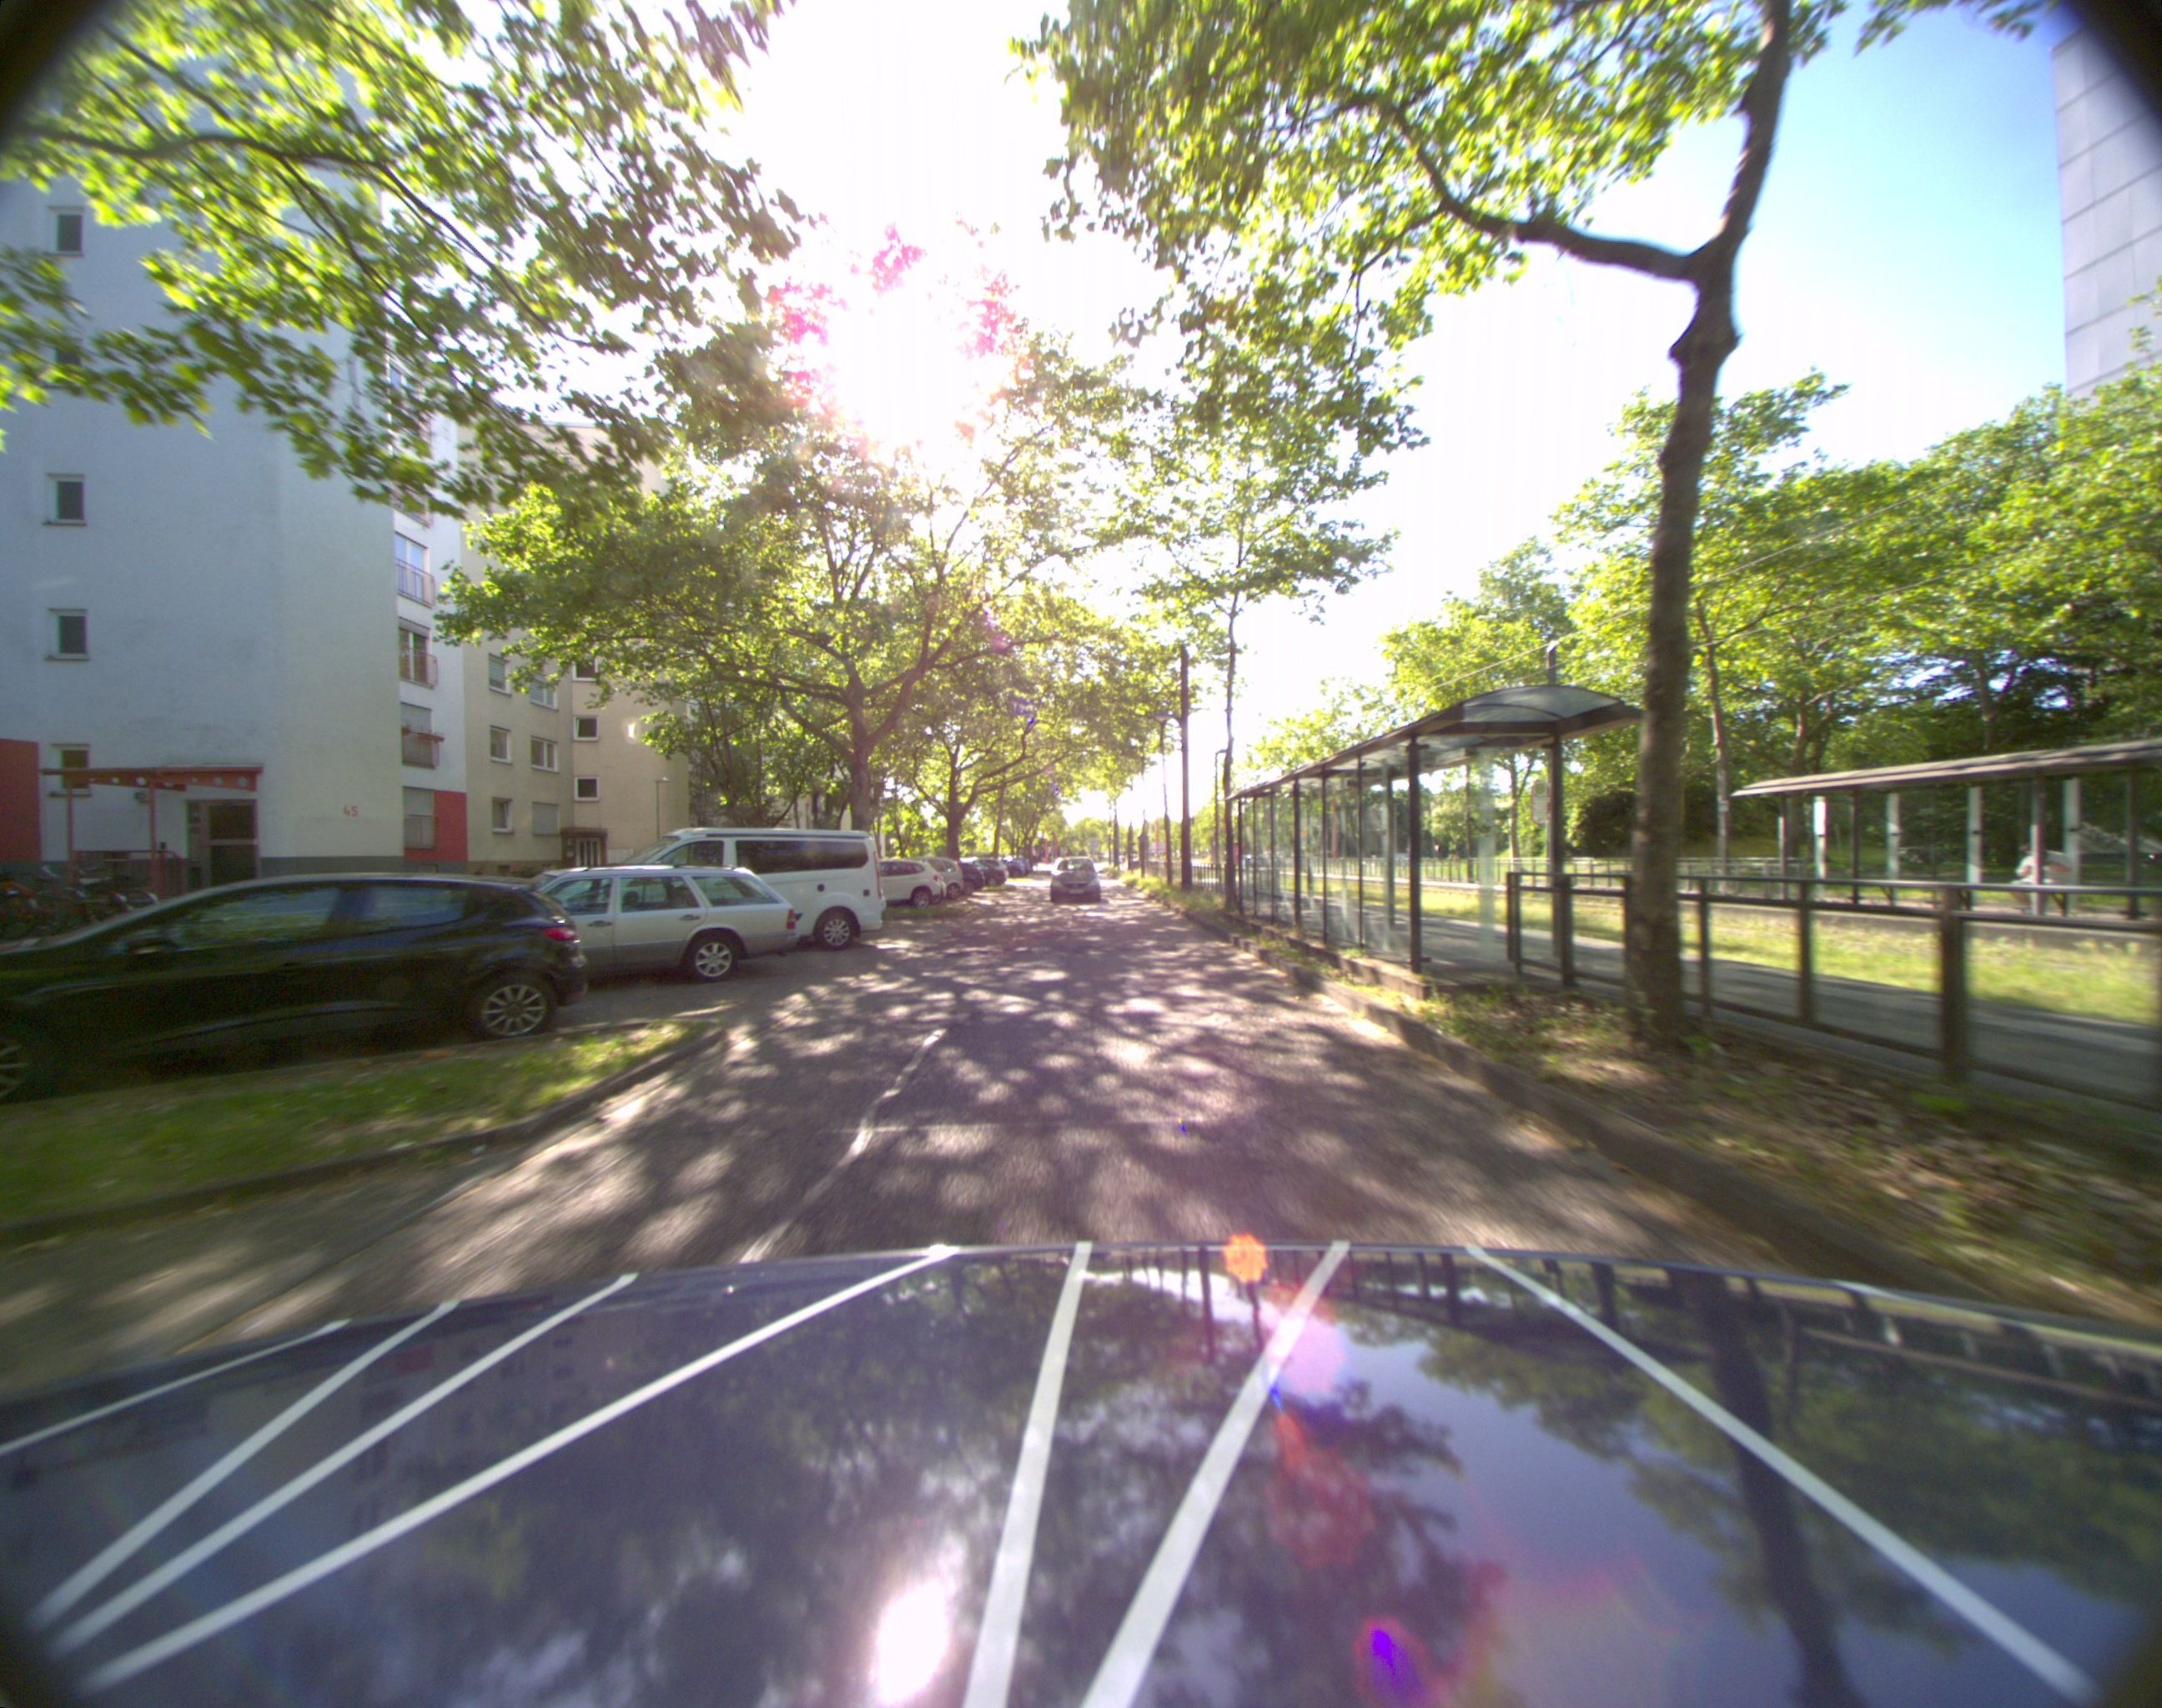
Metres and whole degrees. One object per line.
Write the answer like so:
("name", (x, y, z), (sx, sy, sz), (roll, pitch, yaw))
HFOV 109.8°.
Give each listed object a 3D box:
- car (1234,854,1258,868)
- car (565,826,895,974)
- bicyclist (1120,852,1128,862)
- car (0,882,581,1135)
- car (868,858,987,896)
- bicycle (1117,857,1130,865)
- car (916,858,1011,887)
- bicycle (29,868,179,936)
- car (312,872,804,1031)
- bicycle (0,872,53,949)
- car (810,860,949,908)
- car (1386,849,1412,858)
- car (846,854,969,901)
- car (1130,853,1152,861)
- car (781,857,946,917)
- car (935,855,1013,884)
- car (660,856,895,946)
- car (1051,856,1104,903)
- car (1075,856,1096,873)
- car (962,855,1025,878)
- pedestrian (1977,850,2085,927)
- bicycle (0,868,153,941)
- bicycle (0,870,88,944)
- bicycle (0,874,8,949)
("car", (19.355, 0.832, 89.305), (1.799, 1.607, 4.233), (-1, 0, 0))
("car", (-5.720, 0.662, 12.707), (4.600, 2.040, 2.011), (1, 0, -40))
("bicyclist", (6.504, 0.487, 115.641), (0.955, 1.469, 0.704), (-1, 1, 23))
("car", (-6.343, 0.970, 5.823), (3.932, 1.408, 1.794), (1, 0, -43))
("car", (-6.297, 0.924, 31.508), (4.418, 1.420, 1.946), (1, 0, -39))
("bicycle", (6.509, 1.075, 115.653), (1.896, 1.101, 0.704), (-1, 1, 23))
("car", (-5.907, 0.914, 38.613), (1.795, 1.414, 4.600), (1, 0, 45))
("bicycle", (-17.192, 0.837, 13.393), (1.799, 1.123, 0.500), (2, 0, -5))
("car", (-6.016, 0.963, 9.264), (4.600, 1.415, 1.795), (1, 0, -41))
("bicycle", (-17.137, 0.839, 11.671), (1.799, 1.123, 0.500), (2, 0, -5))
("car", (-6.539, 0.934, 24.888), (1.826, 1.411, 4.009), (2, 0, 45))
("car", (54.045, -0.021, 129.086), (3.990, 1.501, 1.803), (-1, -1, 26))
("car", (-6.356, 0.852, 28.072), (4.009, 1.580, 1.795), (1, 0, -43))
("car", (11.553, 0.658, 146.486), (3.990, 1.501, 1.803), (0, 0, 26))
("car", (-6.176, 0.897, 21.903), (1.794, 1.501, 4.222), (2, 0, 43))
("car", (-6.041, 0.876, 43.118), (4.008, 1.566, 1.795), (1, 0, -40))
("car", (-6.131, 0.876, 15.605), (4.067, 1.571, 1.827), (1, 0, -43))
("car", (-0.135, 0.873, 27.856), (1.799, 1.580, 3.763), (0, 0, 0))
("car", (0.400, 0.946, 68.997), (1.799, 1.529, 3.999), (0, 0, -2))
("car", (-6.098, 0.862, 53.420), (1.795, 1.501, 4.187), (1, 0, 43))
("pedestrian", (15.299, 0.540, 12.258), (0.768, 1.176, 0.763), (-1, 0, 0))
("bicycle", (-16.987, 0.844, 12.825), (1.799, 1.123, 0.550), (2, 0, -5))
("bicycle", (-17.291, 0.839, 12.224), (1.799, 1.123, 0.500), (2, 0, -5))
("bicycle", (-17.094, 0.836, 11.139), (1.799, 1.123, 0.500), (2, 0, -5))
